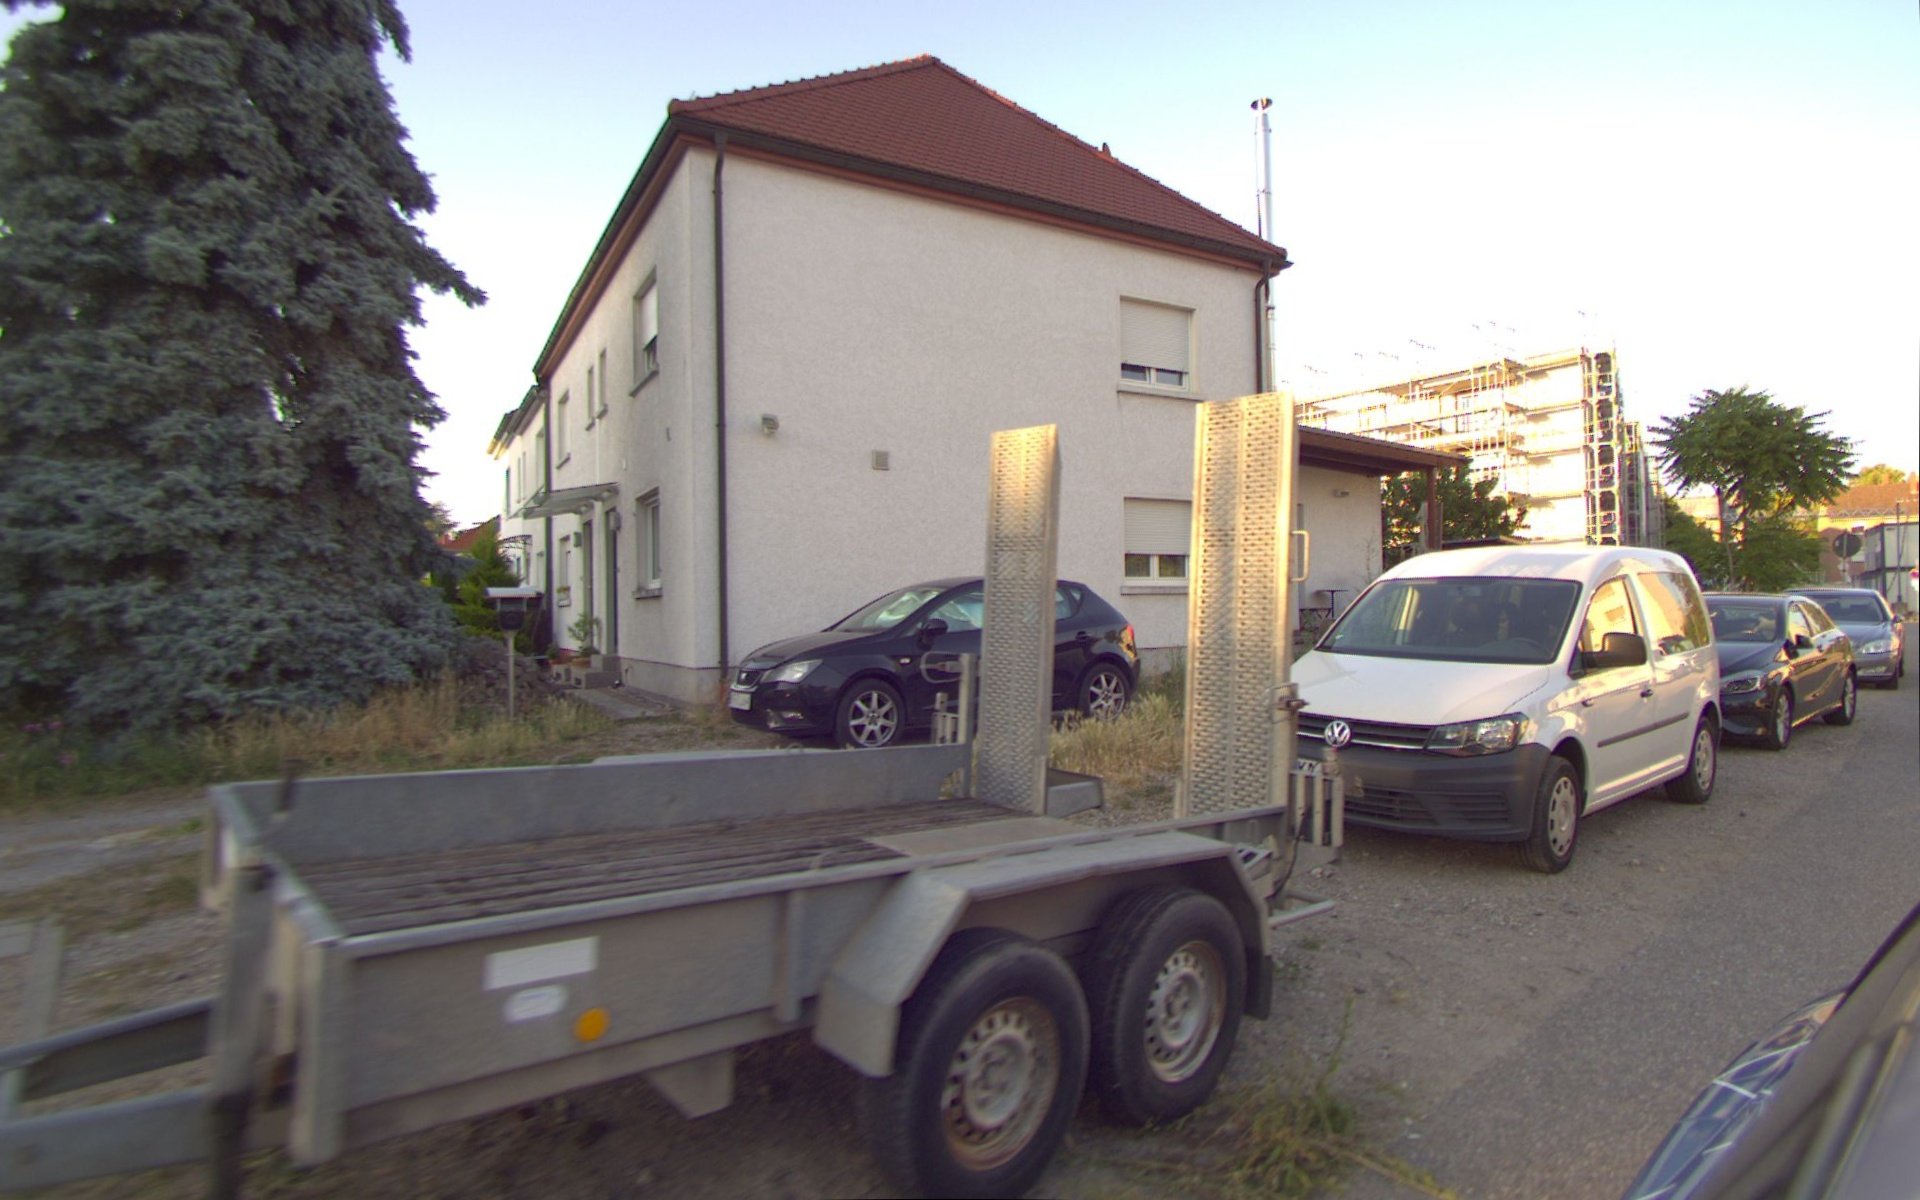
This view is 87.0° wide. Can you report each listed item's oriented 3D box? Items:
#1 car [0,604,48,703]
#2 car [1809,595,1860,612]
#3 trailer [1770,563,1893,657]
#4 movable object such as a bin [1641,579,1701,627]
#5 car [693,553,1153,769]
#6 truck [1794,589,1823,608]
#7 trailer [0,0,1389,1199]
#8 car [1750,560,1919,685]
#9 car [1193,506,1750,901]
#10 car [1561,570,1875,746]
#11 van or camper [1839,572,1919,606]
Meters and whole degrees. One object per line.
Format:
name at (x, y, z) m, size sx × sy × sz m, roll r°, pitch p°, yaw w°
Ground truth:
car at (-15.496, 0.849, 15.294) m, size 1.708 × 1.496 × 4.138 m, roll -2°, pitch 0°, yaw -31°
car at (87.973, 0.376, 101.870) m, size 3.710 × 1.536 × 1.783 m, roll -5°, pitch -3°, yaw 40°
trailer at (18.715, 0.171, 21.643) m, size 1.731 × 1.800 × 4.858 m, roll 1°, pitch 1°, yaw 44°
movable object such as a bin at (36.312, 0.155, 51.552) m, size 2.061 × 2.302 × 8.251 m, roll -1°, pitch -1°, yaw 38°
car at (-0.257, 0.408, 9.172) m, size 3.827 × 1.538 × 1.642 m, roll -3°, pitch 1°, yaw -32°
truck at (98.678, -0.168, 117.758) m, size 1.827 × 2.129 × 3.700 m, roll -4°, pitch -2°, yaw 30°
trailer at (-1.055, 0.230, 2.711) m, size 5.132 × 2.240 × 2.067 m, roll 0°, pitch -1°, yaw -42°
car at (14.443, 0.296, 16.607) m, size 1.806 × 1.746 × 4.849 m, roll 1°, pitch 1°, yaw 44°
car at (3.648, 0.458, 6.836) m, size 4.330 × 1.854 × 1.774 m, roll -1°, pitch 0°, yaw -40°
car at (8.157, 0.503, 10.768) m, size 4.014 × 1.538 × 1.708 m, roll 0°, pitch -1°, yaw -39°
van or camper at (82.100, -0.984, 89.409) m, size 6.441 × 2.675 × 2.373 m, roll -5°, pitch -3°, yaw 39°
